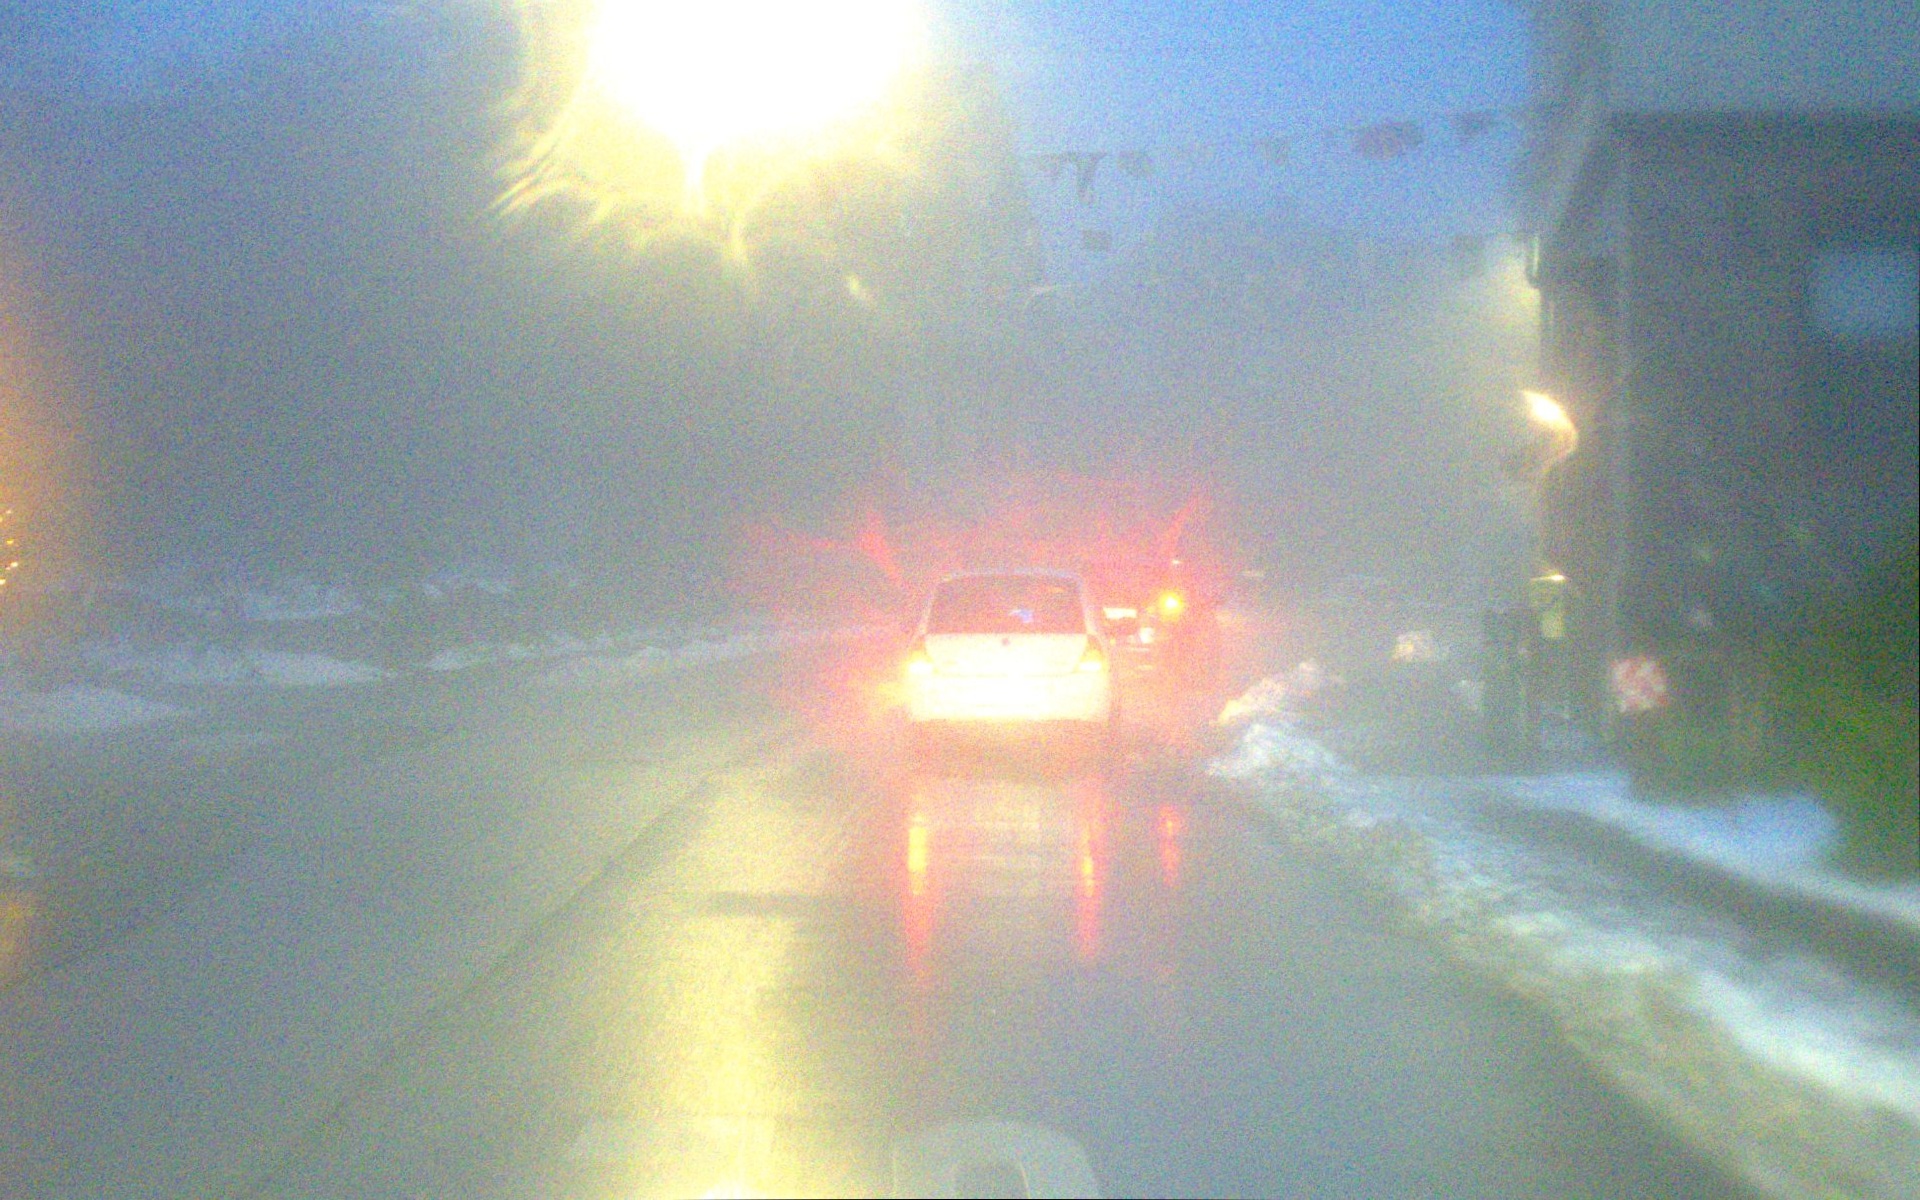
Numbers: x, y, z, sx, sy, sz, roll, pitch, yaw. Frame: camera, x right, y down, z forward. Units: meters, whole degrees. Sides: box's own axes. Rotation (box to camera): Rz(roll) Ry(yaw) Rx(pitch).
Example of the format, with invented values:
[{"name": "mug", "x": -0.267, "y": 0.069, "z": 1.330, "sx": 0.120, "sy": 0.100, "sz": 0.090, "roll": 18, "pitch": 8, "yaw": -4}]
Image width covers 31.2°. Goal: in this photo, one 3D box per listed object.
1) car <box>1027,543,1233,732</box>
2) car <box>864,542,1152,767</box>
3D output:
[{"name": "car", "x": 2.076, "y": 0.495, "z": 40.857, "sx": 1.994, "sy": 2.007, "sz": 3.998, "roll": 4, "pitch": -2, "yaw": 8}, {"name": "car", "x": 0.450, "y": 0.459, "z": 26.958, "sx": 1.994, "sy": 1.503, "sz": 3.999, "roll": 4, "pitch": -2, "yaw": 3}]
